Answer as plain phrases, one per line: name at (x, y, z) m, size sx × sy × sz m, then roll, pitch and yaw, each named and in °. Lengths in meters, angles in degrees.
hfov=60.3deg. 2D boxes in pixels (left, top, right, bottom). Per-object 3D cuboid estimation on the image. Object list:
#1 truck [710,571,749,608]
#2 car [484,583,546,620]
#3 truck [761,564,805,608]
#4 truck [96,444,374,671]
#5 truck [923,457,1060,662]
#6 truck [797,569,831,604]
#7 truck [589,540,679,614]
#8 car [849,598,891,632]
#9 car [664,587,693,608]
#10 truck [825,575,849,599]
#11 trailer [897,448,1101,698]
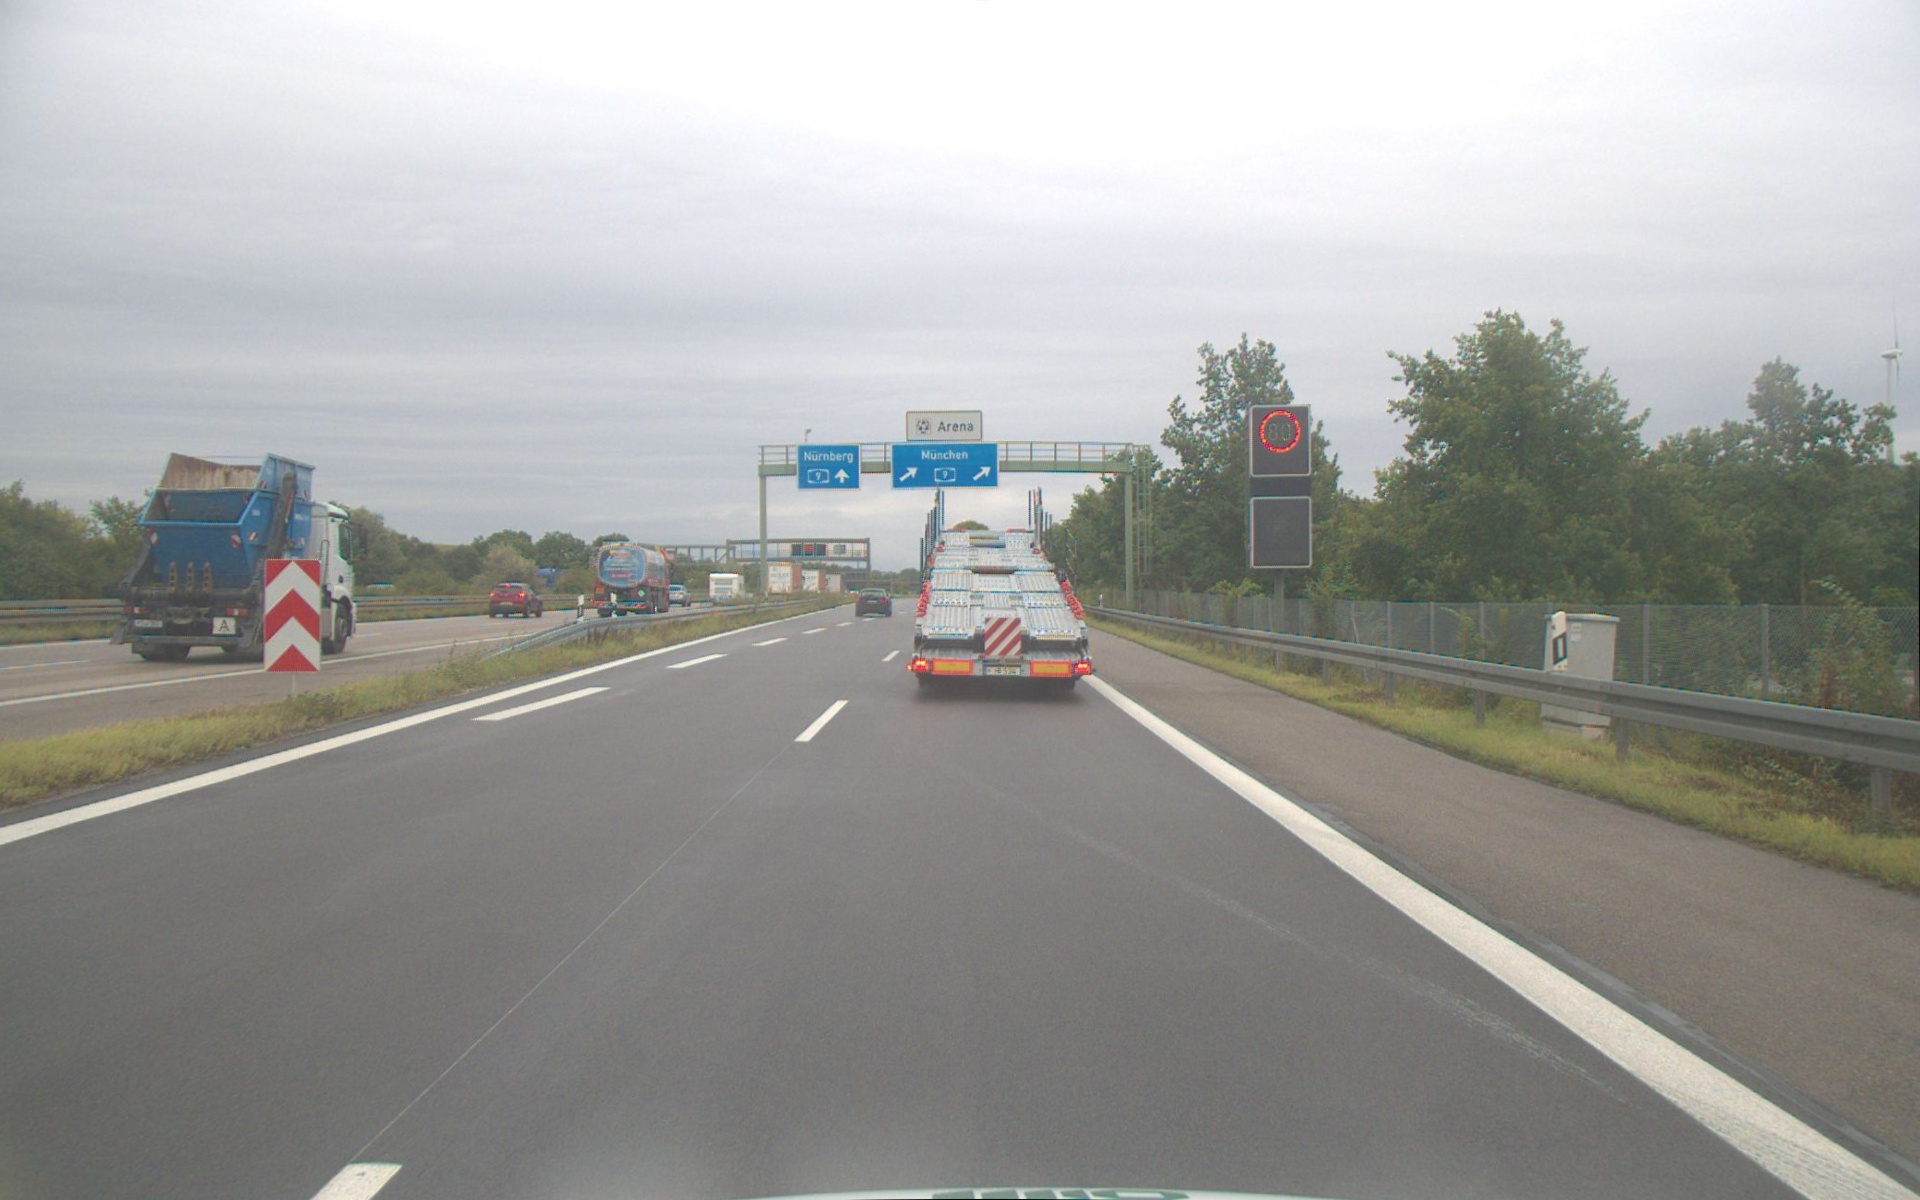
truck at (-17.402, -0.789, 124.930) m, size 2.197 × 2.751 × 5.278 m, roll 1°, pitch 0°, yaw -1°
car at (-20.152, 0.071, 75.028) m, size 1.758 × 1.584 × 3.825 m, roll 1°, pitch 0°, yaw -1°
truck at (-18.732, -1.484, 175.914) m, size 3.657 × 4.494 × 10.193 m, roll 1°, pitch 0°, yaw -1°
truck at (-13.786, -0.716, 32.182) m, size 2.586 × 3.879 × 7.337 m, roll 1°, pitch 0°, yaw -4°
truck at (0.686, -0.852, 37.446) m, size 2.682 × 4.037 × 9.129 m, roll 1°, pitch 0°, yaw 1°
truck at (-19.469, -1.817, 221.045) m, size 3.657 × 4.494 × 11.895 m, roll 1°, pitch 0°, yaw -1°
truck at (-15.831, -1.092, 80.951) m, size 2.799 × 3.423 × 8.629 m, roll 1°, pitch 0°, yaw -1°
car at (-4.612, 0.741, 85.525) m, size 1.921 × 1.666 × 5.624 m, roll 1°, pitch 0°, yaw -1°
car at (-21.302, -0.186, 125.367) m, size 1.649 × 1.557 × 3.998 m, roll 1°, pitch 0°, yaw -2°
truck at (-19.339, -2.031, 260.041) m, size 2.967 × 3.749 × 12.147 m, roll 1°, pitch 0°, yaw -1°
trailer at (0.572, -0.404, 27.659) m, size 2.720 × 3.342 × 10.407 m, roll 1°, pitch 0°, yaw 0°
